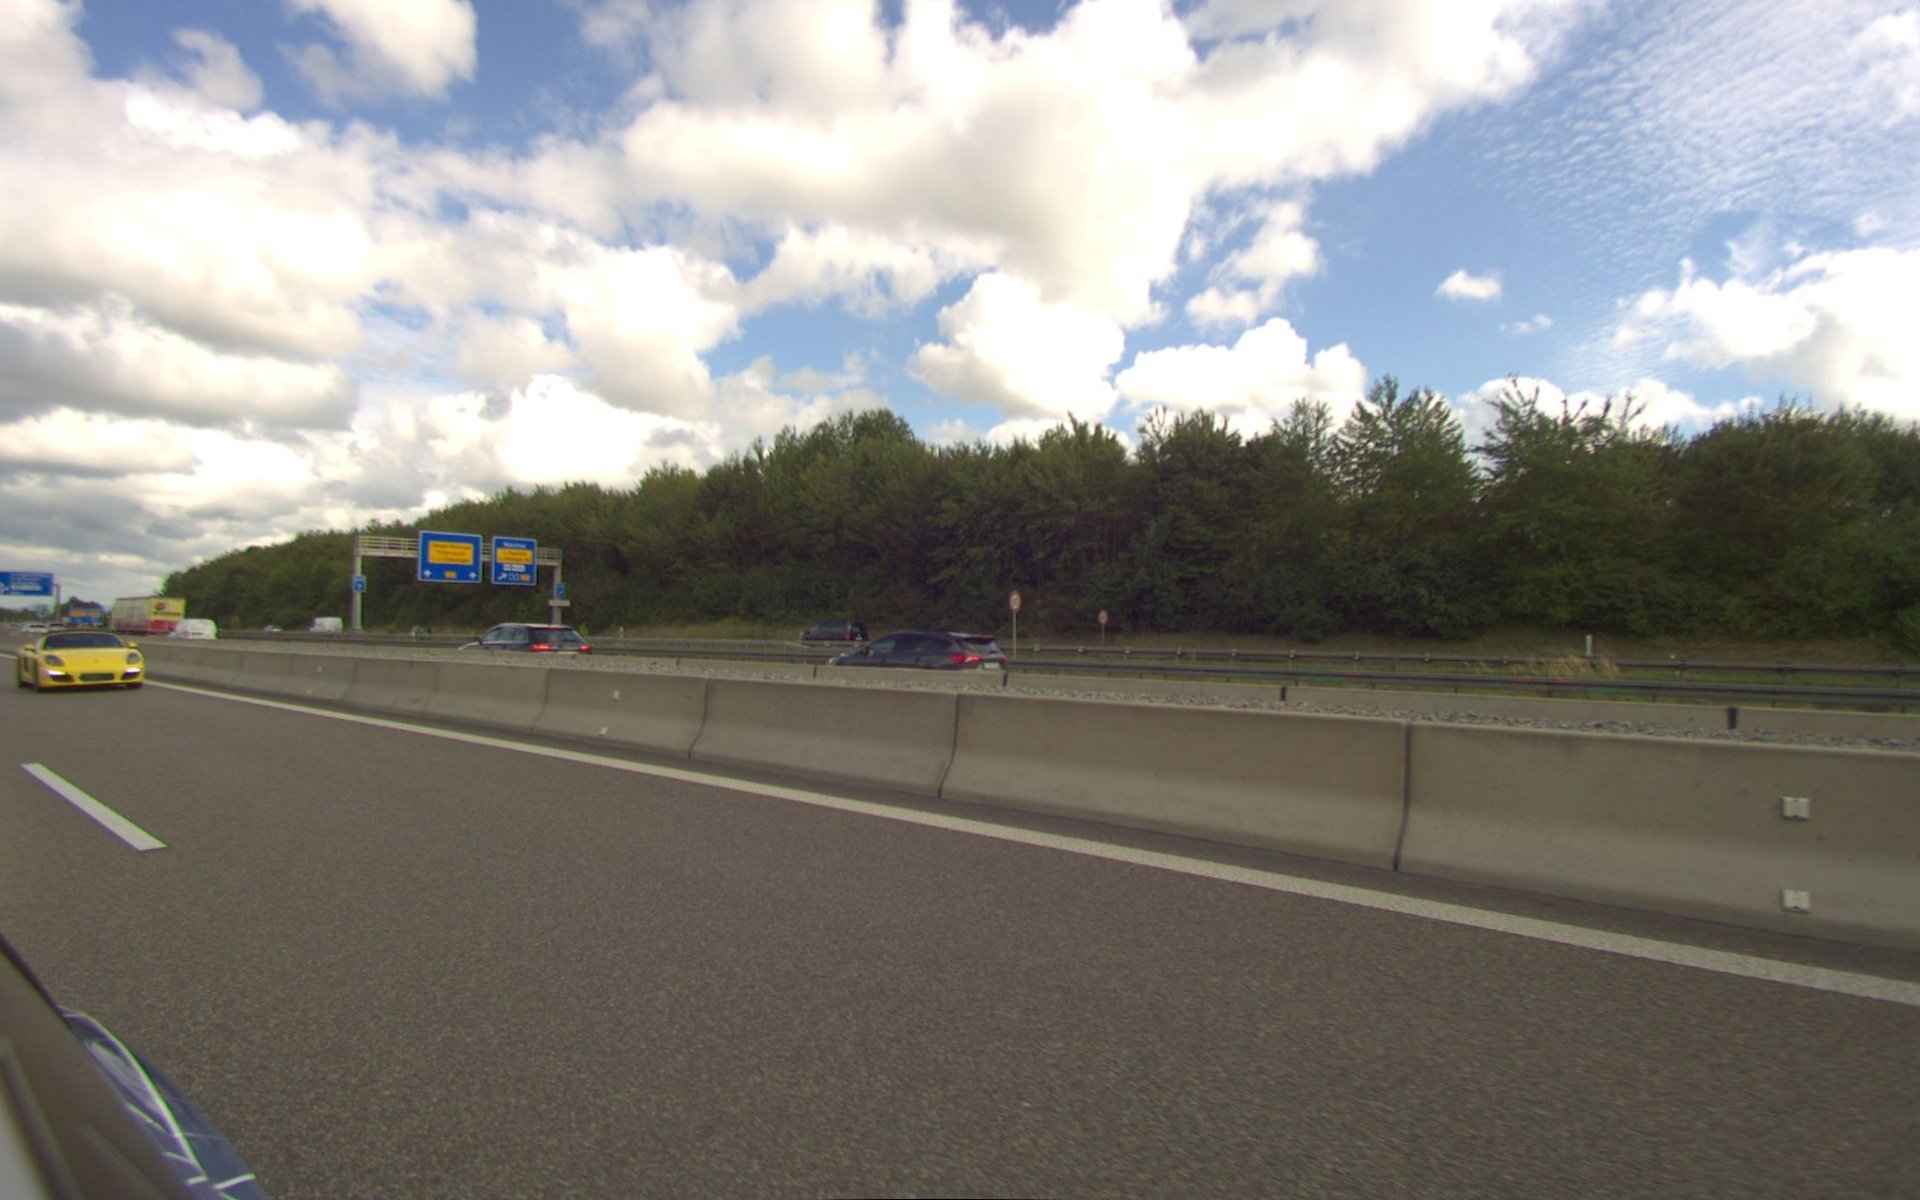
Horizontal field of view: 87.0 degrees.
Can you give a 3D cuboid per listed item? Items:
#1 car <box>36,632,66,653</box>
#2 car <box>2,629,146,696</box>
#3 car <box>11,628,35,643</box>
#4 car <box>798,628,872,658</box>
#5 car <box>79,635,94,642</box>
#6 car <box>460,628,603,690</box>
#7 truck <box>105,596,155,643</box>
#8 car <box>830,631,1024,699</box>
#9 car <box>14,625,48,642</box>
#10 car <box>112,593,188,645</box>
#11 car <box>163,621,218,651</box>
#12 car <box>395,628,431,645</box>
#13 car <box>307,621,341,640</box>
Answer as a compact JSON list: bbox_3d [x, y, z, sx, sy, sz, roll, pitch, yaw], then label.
[{"bbox_3d":[-92.532,4.294,102.970,4.551,2.029,1.734,-1,-1,41],"label":"car"},{"bbox_3d":[-19.508,1.319,22.226,4.245,1.325,1.788,-1,-3,41],"label":"car"},{"bbox_3d":[-106.774,4.047,115.303,4.461,1.623,1.577,-1,-1,41],"label":"car"},{"bbox_3d":[-7.400,2.502,59.698,4.418,1.674,1.862,-1,-2,42],"label":"car"},{"bbox_3d":[-165.026,7.236,191.090,4.049,1.375,1.547,-1,-2,41],"label":"car"},{"bbox_3d":[-10.832,1.426,25.449,4.073,1.413,1.738,-1,-2,42],"label":"car"},{"bbox_3d":[-79.740,1.930,97.185,5.159,4.356,2.866,-1,-2,41],"label":"truck"},{"bbox_3d":[-0.782,1.324,21.607,4.240,1.294,1.563,-1,-2,42],"label":"car"},{"bbox_3d":[-80.575,2.907,87.768,4.532,1.412,1.648,-1,-2,41],"label":"car"},{"bbox_3d":[-73.406,1.787,91.570,14.138,4.358,2.875,-2,-2,41],"label":"car"},{"bbox_3d":[-48.744,2.264,64.038,5.121,1.808,1.716,-1,-2,41],"label":"car"},{"bbox_3d":[-55.086,3.627,101.857,4.418,1.674,1.827,-1,-2,42],"label":"car"},{"bbox_3d":[-75.898,3.623,120.751,5.889,2.252,1.972,-2,-2,43],"label":"car"}]
